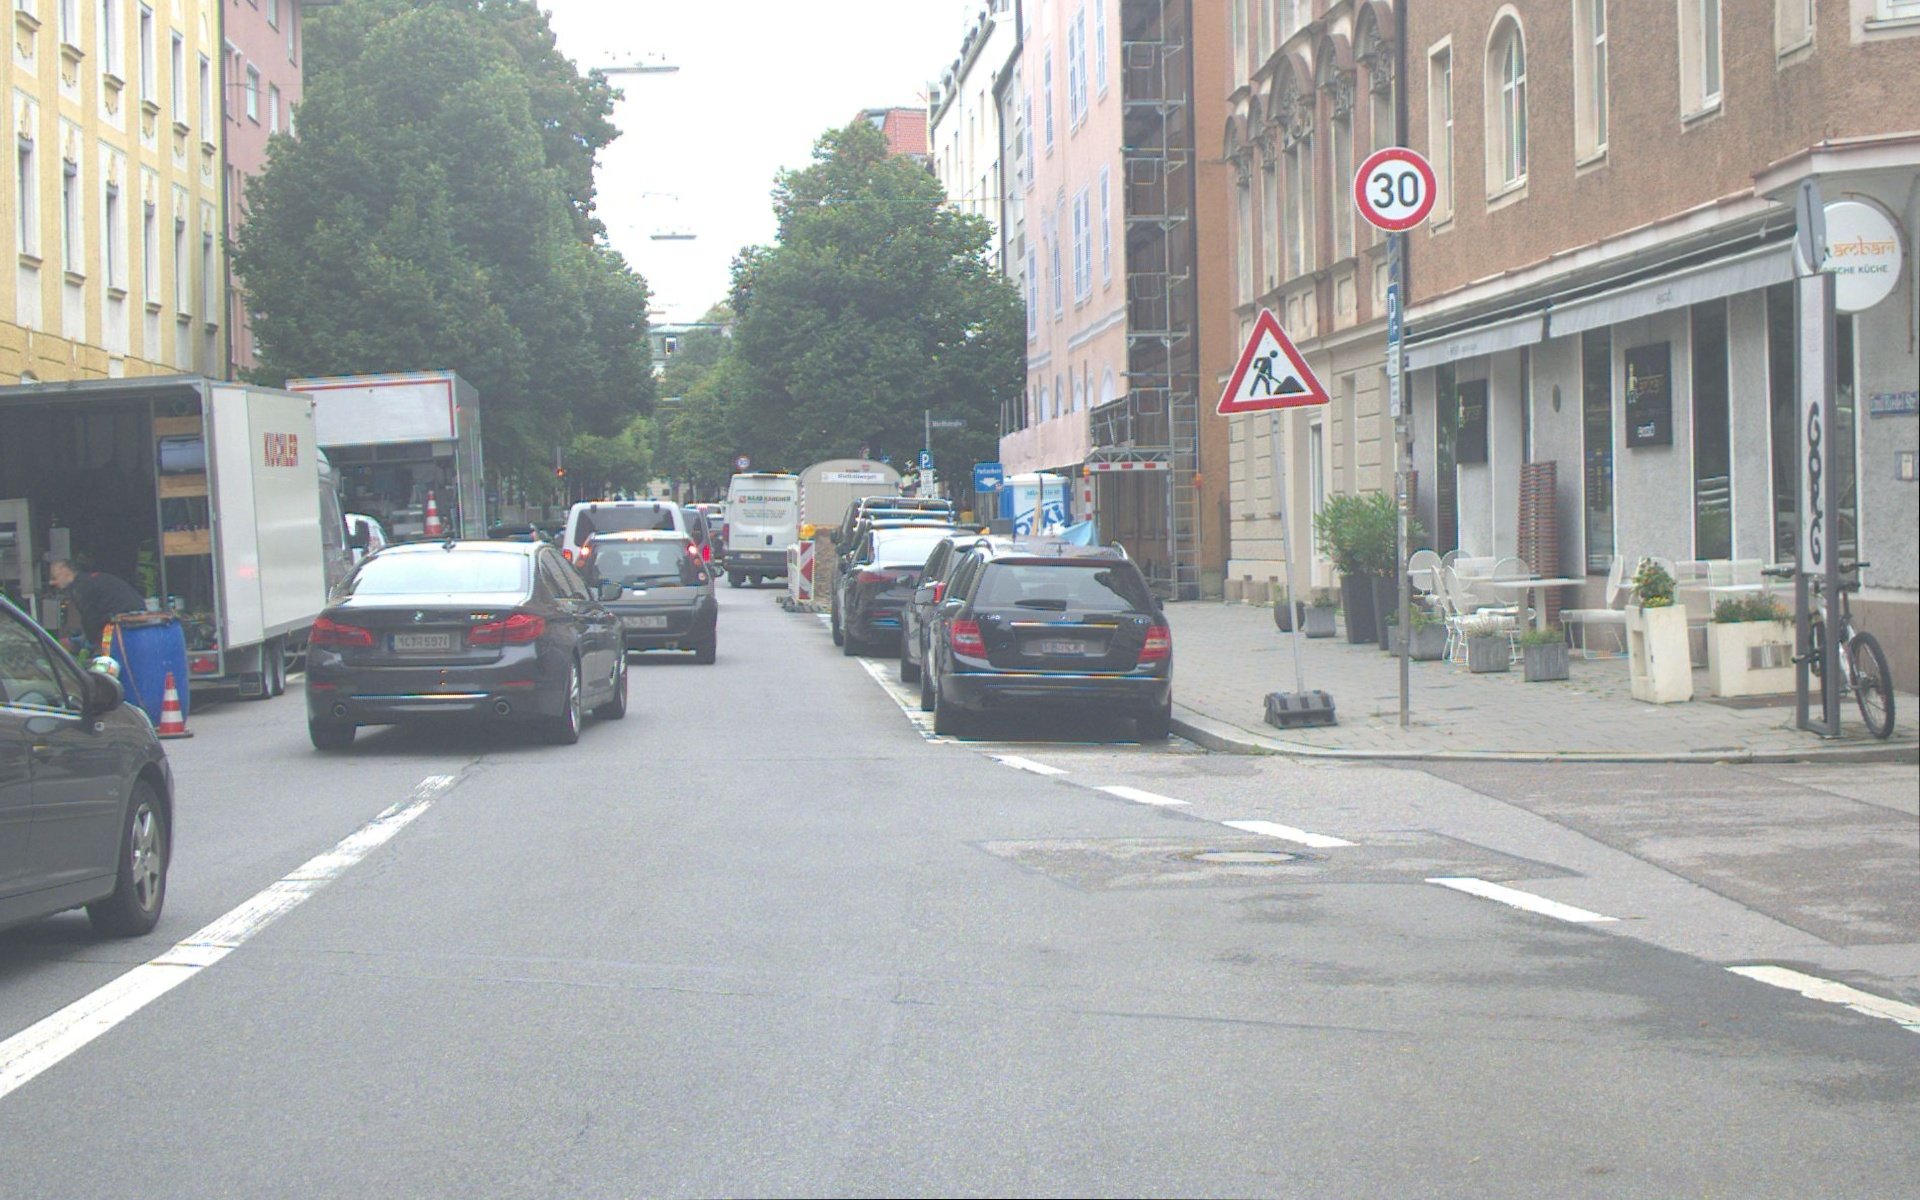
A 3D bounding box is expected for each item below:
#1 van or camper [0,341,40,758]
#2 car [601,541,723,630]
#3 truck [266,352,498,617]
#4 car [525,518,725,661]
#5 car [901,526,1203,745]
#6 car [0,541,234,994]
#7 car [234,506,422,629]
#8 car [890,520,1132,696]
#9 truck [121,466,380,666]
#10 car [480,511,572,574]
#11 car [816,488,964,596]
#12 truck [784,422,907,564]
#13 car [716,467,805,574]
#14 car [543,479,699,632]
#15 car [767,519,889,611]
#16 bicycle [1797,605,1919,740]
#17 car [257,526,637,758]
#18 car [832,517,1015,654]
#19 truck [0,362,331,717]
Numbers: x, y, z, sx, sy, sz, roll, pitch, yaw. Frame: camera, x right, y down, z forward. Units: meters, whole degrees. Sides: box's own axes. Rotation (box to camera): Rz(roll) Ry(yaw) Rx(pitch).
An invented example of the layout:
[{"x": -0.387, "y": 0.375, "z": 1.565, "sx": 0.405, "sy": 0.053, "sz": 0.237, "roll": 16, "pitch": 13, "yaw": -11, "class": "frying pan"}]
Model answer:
[{"x": -7.733, "y": -0.252, "z": 21.303, "sx": 2.600, "sy": 2.830, "sz": 6.187, "roll": -1, "pitch": 2, "yaw": -3, "class": "van or camper"}, {"x": -5.315, "y": -0.282, "z": 61.746, "sx": 1.990, "sy": 1.424, "sz": 4.141, "roll": -1, "pitch": 2, "yaw": -3, "class": "car"}, {"x": -9.076, "y": -1.809, "z": 54.735, "sx": 3.012, "sy": 3.938, "sz": 6.997, "roll": 0, "pitch": 1, "yaw": -5, "class": "truck"}, {"x": -3.686, "y": -0.157, "z": 38.486, "sx": 1.990, "sy": 1.424, "sz": 4.141, "roll": -1, "pitch": 2, "yaw": -3, "class": "car"}, {"x": 0.620, "y": 0.210, "z": 26.430, "sx": 1.844, "sy": 1.424, "sz": 4.184, "roll": 2, "pitch": 2, "yaw": -4, "class": "car"}, {"x": -3.960, "y": 0.550, "z": 11.944, "sx": 1.759, "sy": 1.456, "sz": 4.074, "roll": -1, "pitch": 1, "yaw": 4, "class": "car"}, {"x": -8.629, "y": -0.470, "z": 47.242, "sx": 1.990, "sy": 1.605, "sz": 4.141, "roll": 0, "pitch": 1, "yaw": -3, "class": "car"}, {"x": 0.409, "y": 0.026, "z": 32.278, "sx": 1.844, "sy": 1.424, "sz": 4.141, "roll": 2, "pitch": 2, "yaw": -4, "class": "car"}, {"x": -8.111, "y": -0.426, "z": 39.774, "sx": 2.286, "sy": 2.164, "sz": 4.807, "roll": 0, "pitch": 1, "yaw": -4, "class": "truck"}, {"x": -10.242, "y": -1.371, "z": 81.338, "sx": 1.939, "sy": 1.443, "sz": 3.867, "roll": 0, "pitch": 1, "yaw": -4, "class": "car"}, {"x": -1.040, "y": -0.862, "z": 48.977, "sx": 1.990, "sy": 1.424, "sz": 4.141, "roll": -1, "pitch": 2, "yaw": -3, "class": "car"}, {"x": -2.537, "y": -2.304, "z": 74.779, "sx": 2.491, "sy": 2.963, "sz": 5.328, "roll": 0, "pitch": 1, "yaw": -4, "class": "truck"}, {"x": -4.721, "y": -1.897, "z": 81.855, "sx": 1.939, "sy": 2.471, "sz": 4.783, "roll": 0, "pitch": 1, "yaw": -1, "class": "car"}, {"x": -4.851, "y": -0.685, "z": 49.651, "sx": 1.990, "sy": 2.068, "sz": 4.141, "roll": -1, "pitch": 2, "yaw": -3, "class": "car"}, {"x": -2.261, "y": -0.624, "z": 58.709, "sx": 1.990, "sy": 1.424, "sz": 4.141, "roll": -1, "pitch": 2, "yaw": -3, "class": "car"}, {"x": 5.759, "y": 0.450, "z": 22.014, "sx": 0.456, "sy": 0.802, "sz": 1.326, "roll": 0, "pitch": 1, "yaw": -1, "class": "bicycle"}, {"x": -3.633, "y": 0.226, "z": 25.242, "sx": 1.990, "sy": 1.424, "sz": 4.906, "roll": -1, "pitch": 2, "yaw": 1, "class": "car"}, {"x": -0.489, "y": -0.213, "z": 41.019, "sx": 1.844, "sy": 1.424, "sz": 4.307, "roll": 2, "pitch": 2, "yaw": -4, "class": "car"}, {"x": -7.619, "y": -0.625, "z": 31.582, "sx": 2.773, "sy": 2.863, "sz": 7.203, "roll": -1, "pitch": 2, "yaw": -4, "class": "truck"}]
